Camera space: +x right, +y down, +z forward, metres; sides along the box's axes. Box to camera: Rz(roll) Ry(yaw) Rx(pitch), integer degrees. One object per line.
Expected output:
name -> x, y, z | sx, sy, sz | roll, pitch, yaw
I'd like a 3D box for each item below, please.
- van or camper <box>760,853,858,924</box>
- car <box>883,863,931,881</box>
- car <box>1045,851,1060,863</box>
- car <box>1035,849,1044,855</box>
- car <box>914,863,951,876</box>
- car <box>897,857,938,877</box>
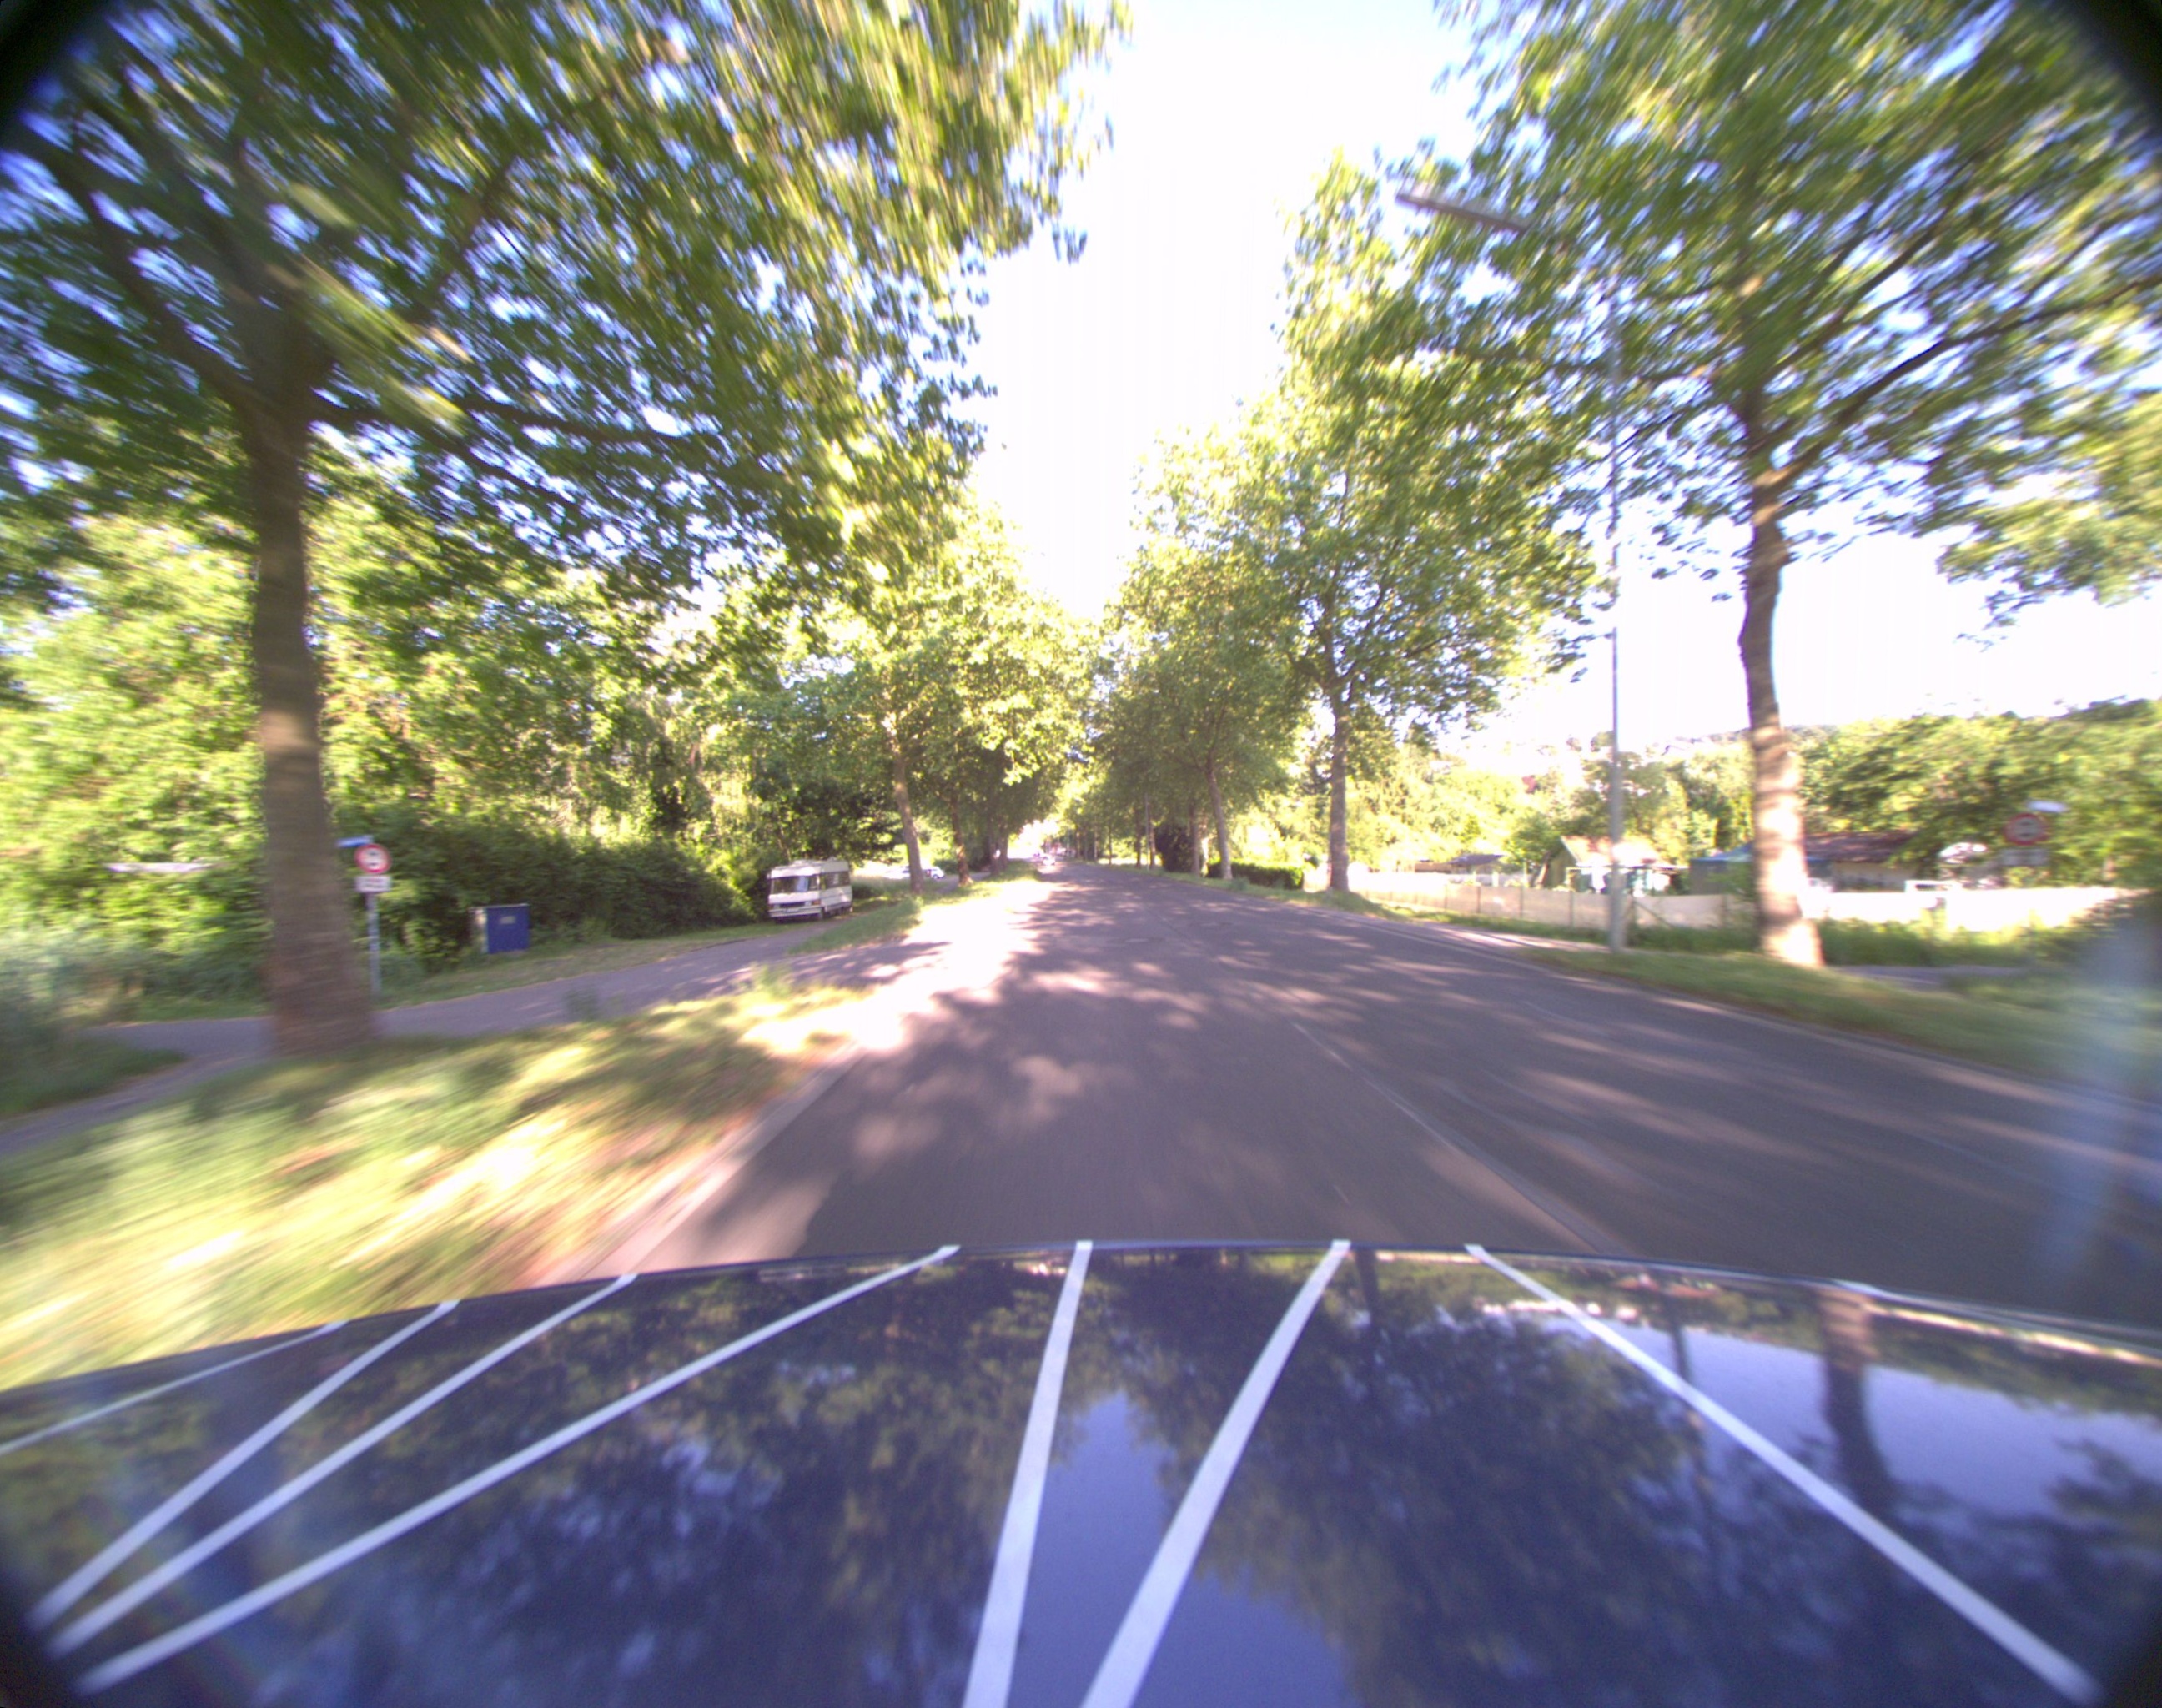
van or camper -> -12.224, 1.450, 34.715 | 2.387, 2.784, 5.683 | -2, 1, -1
car -> -18.300, 1.860, 80.010 | 4.510, 1.660, 2.000 | -2, 1, 5
car -> -4.186, 0.418, 109.642 | 1.999, 1.656, 3.998 | -2, 1, -3
car -> -10.251, -0.599, 187.162 | 1.869, 1.421, 3.999 | -1, 1, 0
car -> -18.032, 1.877, 92.270 | 3.995, 1.378, 2.000 | -2, 1, 5
car -> -18.479, 1.435, 85.933 | 3.995, 2.002, 2.000 | -2, 1, 5
